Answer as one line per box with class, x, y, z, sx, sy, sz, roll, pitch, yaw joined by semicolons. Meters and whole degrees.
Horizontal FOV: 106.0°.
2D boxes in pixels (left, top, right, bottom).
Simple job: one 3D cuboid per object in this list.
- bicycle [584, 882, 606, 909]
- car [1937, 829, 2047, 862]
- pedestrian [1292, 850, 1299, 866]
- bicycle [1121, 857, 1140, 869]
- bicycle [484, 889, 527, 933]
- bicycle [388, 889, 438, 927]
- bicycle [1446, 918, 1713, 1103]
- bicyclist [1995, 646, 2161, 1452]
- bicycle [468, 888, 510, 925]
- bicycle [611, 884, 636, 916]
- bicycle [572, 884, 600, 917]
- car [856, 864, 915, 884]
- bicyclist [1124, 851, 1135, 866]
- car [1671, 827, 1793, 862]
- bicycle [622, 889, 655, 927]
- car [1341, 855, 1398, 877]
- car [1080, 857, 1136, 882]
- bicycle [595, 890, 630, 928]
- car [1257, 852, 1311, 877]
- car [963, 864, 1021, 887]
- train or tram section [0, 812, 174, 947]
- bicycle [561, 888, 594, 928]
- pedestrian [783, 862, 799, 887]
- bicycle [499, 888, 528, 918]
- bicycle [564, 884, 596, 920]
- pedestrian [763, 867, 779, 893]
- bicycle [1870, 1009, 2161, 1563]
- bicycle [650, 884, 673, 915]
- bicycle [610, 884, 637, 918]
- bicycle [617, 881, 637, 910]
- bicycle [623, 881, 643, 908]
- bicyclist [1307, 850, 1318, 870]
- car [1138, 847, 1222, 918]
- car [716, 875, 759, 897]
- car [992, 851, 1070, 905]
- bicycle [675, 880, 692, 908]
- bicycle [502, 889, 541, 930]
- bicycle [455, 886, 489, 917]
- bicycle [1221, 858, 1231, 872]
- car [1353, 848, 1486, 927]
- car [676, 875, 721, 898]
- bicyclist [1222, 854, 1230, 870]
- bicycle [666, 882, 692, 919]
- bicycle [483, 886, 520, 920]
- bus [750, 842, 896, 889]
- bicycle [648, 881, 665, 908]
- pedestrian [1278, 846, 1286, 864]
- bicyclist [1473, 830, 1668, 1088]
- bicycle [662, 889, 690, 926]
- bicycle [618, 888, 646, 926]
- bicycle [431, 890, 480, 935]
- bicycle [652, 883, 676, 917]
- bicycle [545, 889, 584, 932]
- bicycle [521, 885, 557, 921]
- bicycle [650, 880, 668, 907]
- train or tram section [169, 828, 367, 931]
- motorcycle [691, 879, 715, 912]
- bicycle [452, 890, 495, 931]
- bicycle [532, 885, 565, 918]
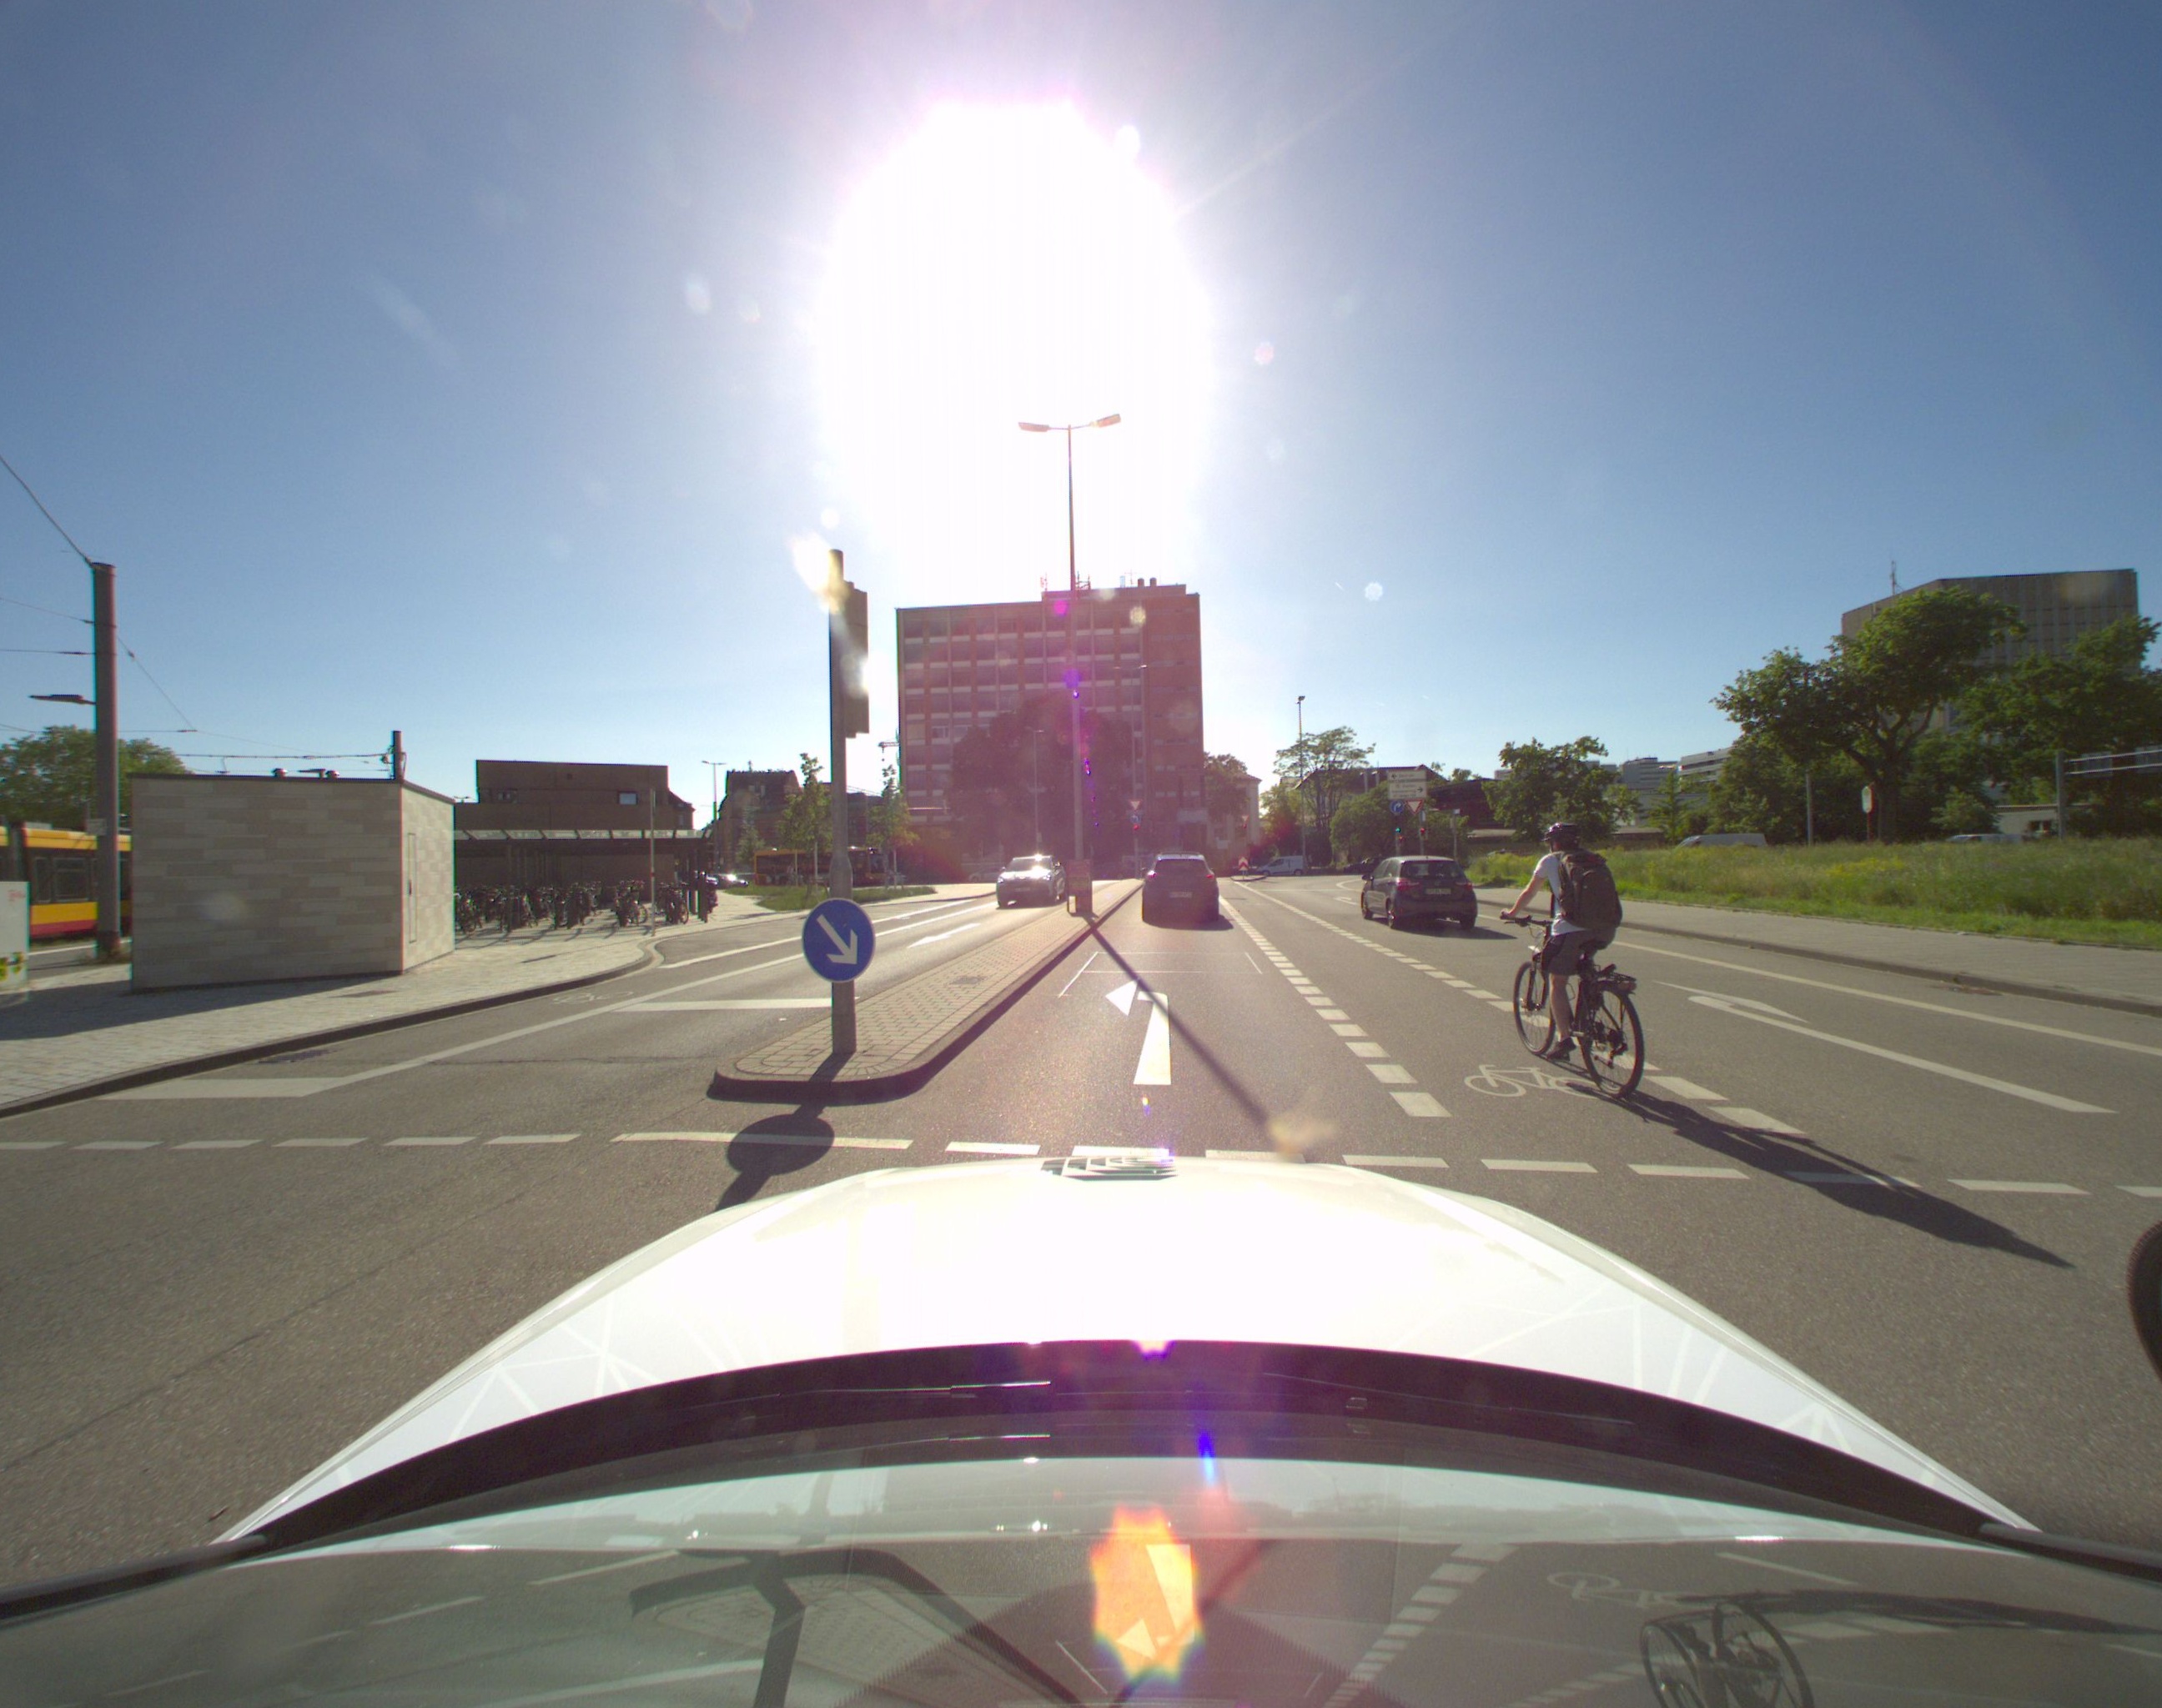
bicycle;-19.774;1.678;33.162;0.583;1.088;1.855;0;-2;-25
car;66.137;-0.616;59.204;5.055;2.225;2.081;-1;0;12
pedestrian;22.714;0.411;86.257;0.572;1.670;0.564;-1;-2;17
bicycle;4.801;0.854;78.927;1.677;1.093;0.605;-2;-1;-31
bicycle;-14.658;1.439;20.785;0.583;1.058;1.801;0;-2;-26
bicycle;-20.001;1.600;24.419;0.583;1.088;2.042;0;-2;-23
bicycle;3.372;0.998;5.761;0.720;0.960;1.883;0;-1;-1
bicyclist;2.622;0.421;1.528;0.660;1.747;1.007;-3;0;7
bicycle;-18.300;1.605;25.210;0.583;1.088;2.042;0;-2;-23
bicycle;-16.247;1.624;28.952;0.583;1.088;1.914;0;-2;-23
bicycle;-17.279;1.611;28.443;0.583;1.088;1.885;0;-2;-23
car;-15.887;1.650;66.248;4.357;1.522;1.981;-2;-2;23
bicyclist;4.688;0.425;78.873;0.822;1.444;0.614;-1;-1;-31
car;49.393;-0.701;61.979;7.109;2.423;2.080;-1;-1;10
bicycle;-12.037;1.452;22.187;0.583;0.961;2.042;0;-2;-23
car;22.464;0.961;63.509;4.082;1.586;1.888;-1;-2;18
car;2.276;1.326;69.141;4.339;2.014;2.008;-1;-2;16
bicycle;-12.607;1.451;21.940;0.583;0.961;2.042;0;-2;-23
car;17.166;0.921;68.818;4.314;2.014;2.008;-1;-2;16
car;-7.812;1.906;71.835;4.617;2.014;2.007;-1;-2;14
train or tram section;-30.807;0.715;23.255;2.833;3.508;11.107;0;-1;-28
bicycle;-14.266;1.512;23.109;0.583;1.058;1.801;0;-2;-26
pedestrian;-19.714;1.398;55.420;0.619;1.741;0.792;-2;-2;23
bicycle;-21.078;1.802;30.269;0.583;1.088;1.855;0;-2;-25
bicycle;-16.260;1.539;26.457;0.583;1.088;2.042;0;-2;-23
pedestrian;-21.540;1.799;56.538;0.648;1.741;0.792;-2;-2;23
bicycle;2.650;1.025;1.534;0.659;1.047;1.894;-2;1;7
bicycle;-15.138;1.625;29.419;0.583;1.088;2.000;0;-2;-23
bicycle;-15.185;1.546;27.068;0.583;1.088;2.042;0;-2;-23
bicycle;-17.835;1.629;32.027;0.583;1.088;1.855;0;-2;-26
bicycle;-18.624;1.686;33.869;0.583;1.088;1.855;0;-2;-25
bicyclist;21.614;0.586;75.974;0.848;1.846;0.856;-2;-2;23
car;2.365;0.665;20.221;1.816;1.600;3.661;0;-1;3
car;-31.554;2.927;74.762;3.948;2.014;2.024;-2;-3;39
car;-1.580;0.750;27.284;1.809;1.568;4.257;-3;0;6
bicycle;-16.053;1.590;32.894;0.583;1.088;1.855;0;-2;-26
bicycle;-15.466;1.509;22.541;0.583;1.058;1.801;0;-2;-26
bicycle;-22.160;1.704;29.658;0.583;1.088;1.855;0;-2;-25
bicycle;16.693;1.243;93.755;0.877;1.541;2.814;-1;-2;5
car;7.309;0.707;17.969;1.747;1.542;3.664;-1;-1;6
car;-33.570;2.841;71.460;3.948;2.014;2.024;-2;-3;39
bicyclist;16.694;0.916;93.760;0.877;1.797;1.162;-1;-2;5
bicycle;-12.093;1.392;24.525;0.583;1.052;1.957;0;-2;-23
bicycle;-19.453;1.612;27.360;0.583;1.088;2.042;0;-2;-23
bus;-20.664;1.023;64.838;12.292;3.396;2.899;-2;-2;25
bicycle;-17.746;1.698;34.073;0.583;1.088;1.855;0;-2;-26
pedestrian;18.638;0.076;75.557;0.555;1.670;0.479;-2;-2;22
bicyclist;3.362;0.668;5.698;0.719;1.626;1.054;0;-1;-1
bicycle;-11.241;1.457;22.655;0.583;0.961;2.042;0;-2;-23
bicycle;-13.155;1.524;23.886;0.583;1.058;1.801;0;-2;-26
bicycle;-15.485;1.430;20.210;0.583;1.058;1.801;0;-2;-26
bicycle;-14.034;1.544;27.459;0.583;1.088;2.042;0;-2;-23
bicycle;-13.497;1.441;21.307;0.583;1.058;1.802;0;-2;-23
bicycle;-17.237;1.534;25.916;0.583;1.088;2.042;0;-2;-23
bicycle;-17.766;1.667;34.314;0.583;1.088;1.855;0;-2;-25
train or tram section;-32.401;0.978;33.115;2.888;3.508;10.444;0;-1;-29
motorcycle;-13.724;1.498;29.564;0.554;1.177;1.902;1;-2;-32
bicycle;-16.320;1.499;21.913;0.583;1.058;1.801;0;-2;-26
bicycle;-18.238;1.615;27.918;0.583;1.088;2.042;0;-2;-23
